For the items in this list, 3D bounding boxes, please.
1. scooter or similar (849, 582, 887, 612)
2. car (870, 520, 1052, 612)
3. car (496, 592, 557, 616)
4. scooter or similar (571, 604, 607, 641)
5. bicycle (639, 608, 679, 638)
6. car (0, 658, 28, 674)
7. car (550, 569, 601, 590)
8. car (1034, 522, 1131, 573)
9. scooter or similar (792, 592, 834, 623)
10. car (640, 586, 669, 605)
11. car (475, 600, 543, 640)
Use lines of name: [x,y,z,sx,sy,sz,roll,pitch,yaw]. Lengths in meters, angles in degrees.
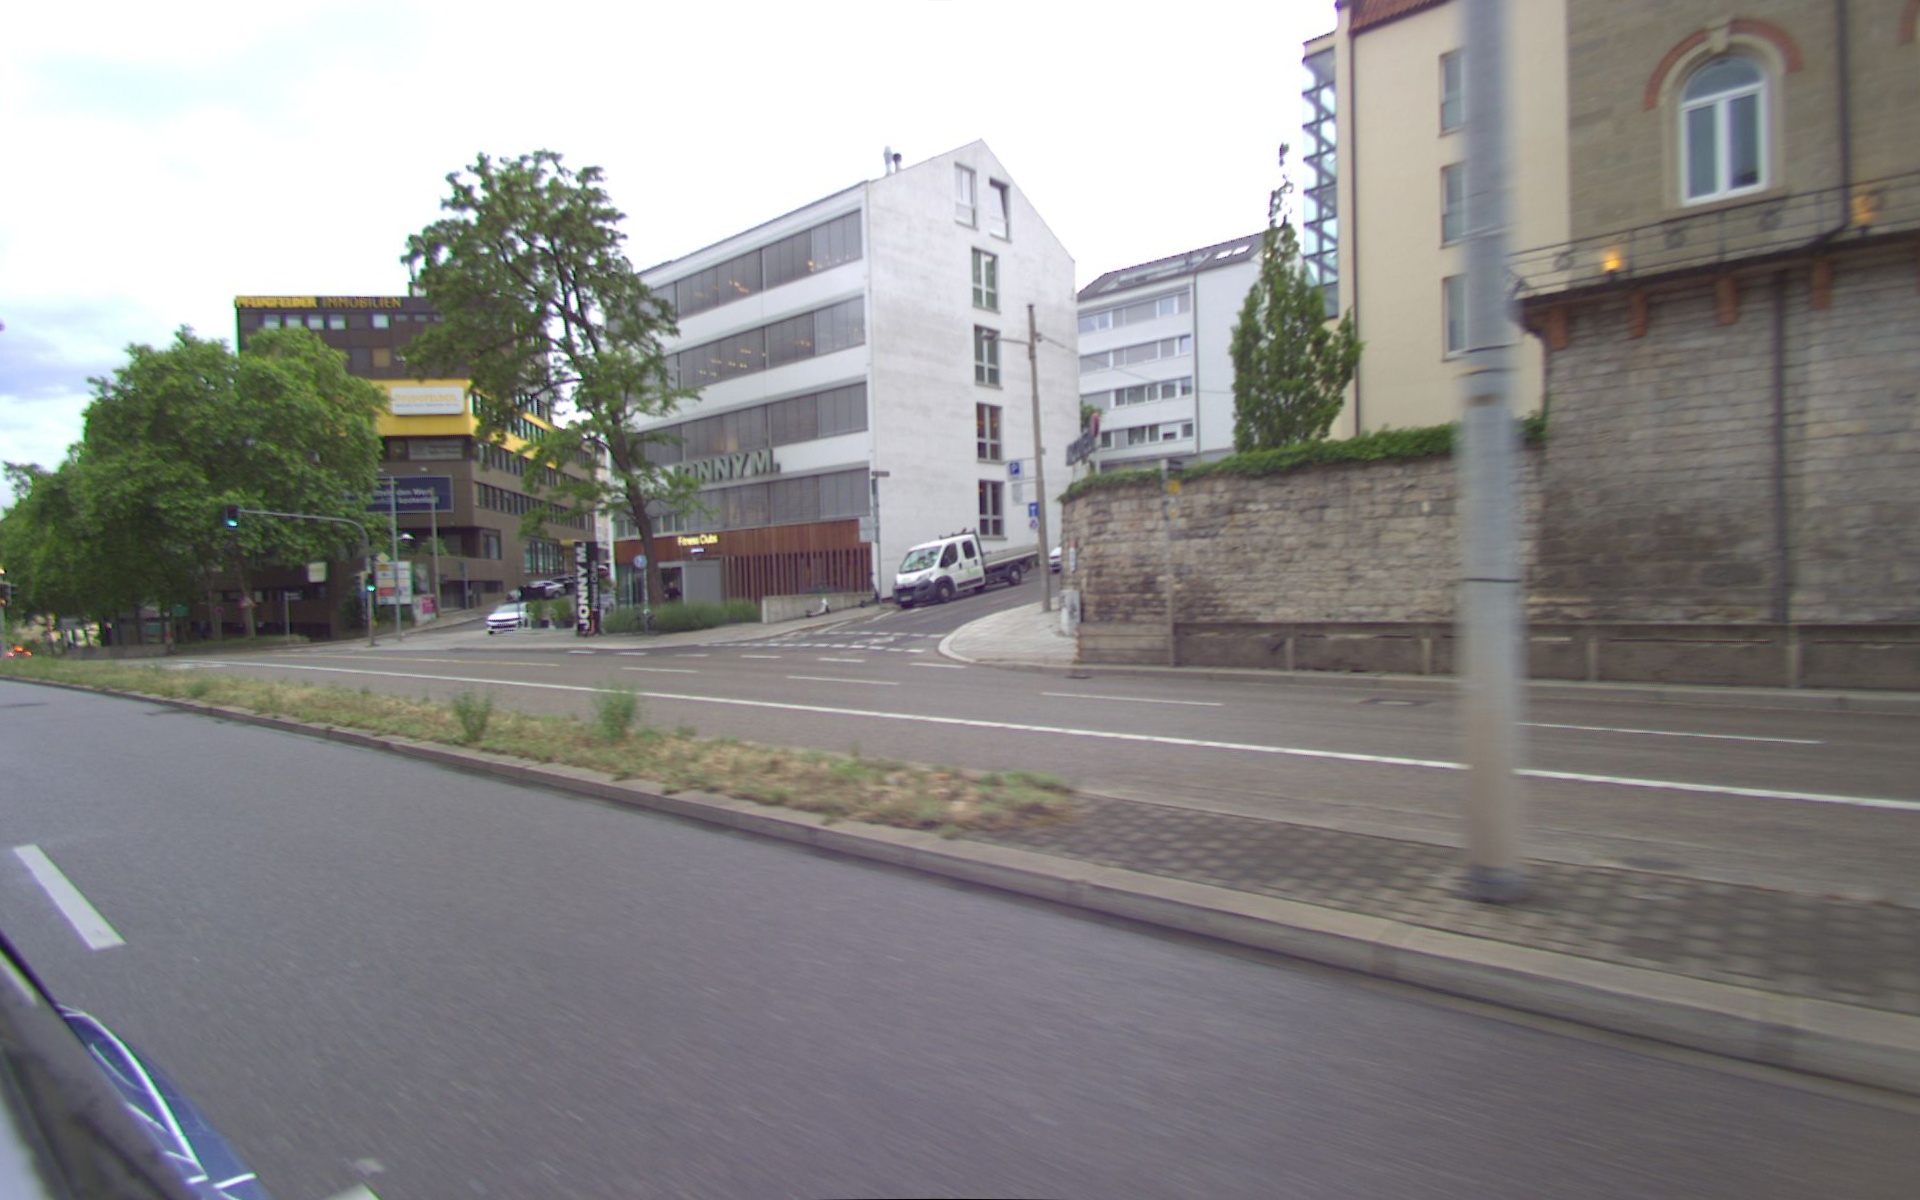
scooter or similar: [-3.431,-0.115,37.729,0.443,0.928,1.455,-3,4,39]
car: [0.194,-1.313,36.917,2.513,2.291,6.836,-7,4,42]
car: [-33.256,0.293,77.712,3.938,1.696,1.823,-3,0,-6]
scooter or similar: [-14.094,0.854,38.490,0.366,1.256,1.750,-3,3,11]
bicycle: [-10.727,0.822,36.038,1.757,0.999,0.452,-2,0,41]
car: [-96.277,6.673,102.403,4.870,1.458,1.976,-3,-2,36]
car: [-34.672,-1.837,91.357,3.938,1.696,1.823,-2,4,-6]
car: [5.202,-2.233,42.687,2.000,1.795,3.946,-2,5,43]
scooter or similar: [-5.216,0.268,35.977,0.443,0.928,1.455,-3,4,39]
car: [-29.504,-0.477,98.004,1.968,1.586,4.496,-4,2,-8]
car: [-22.903,0.987,51.580,1.968,1.665,4.855,-4,2,-11]
